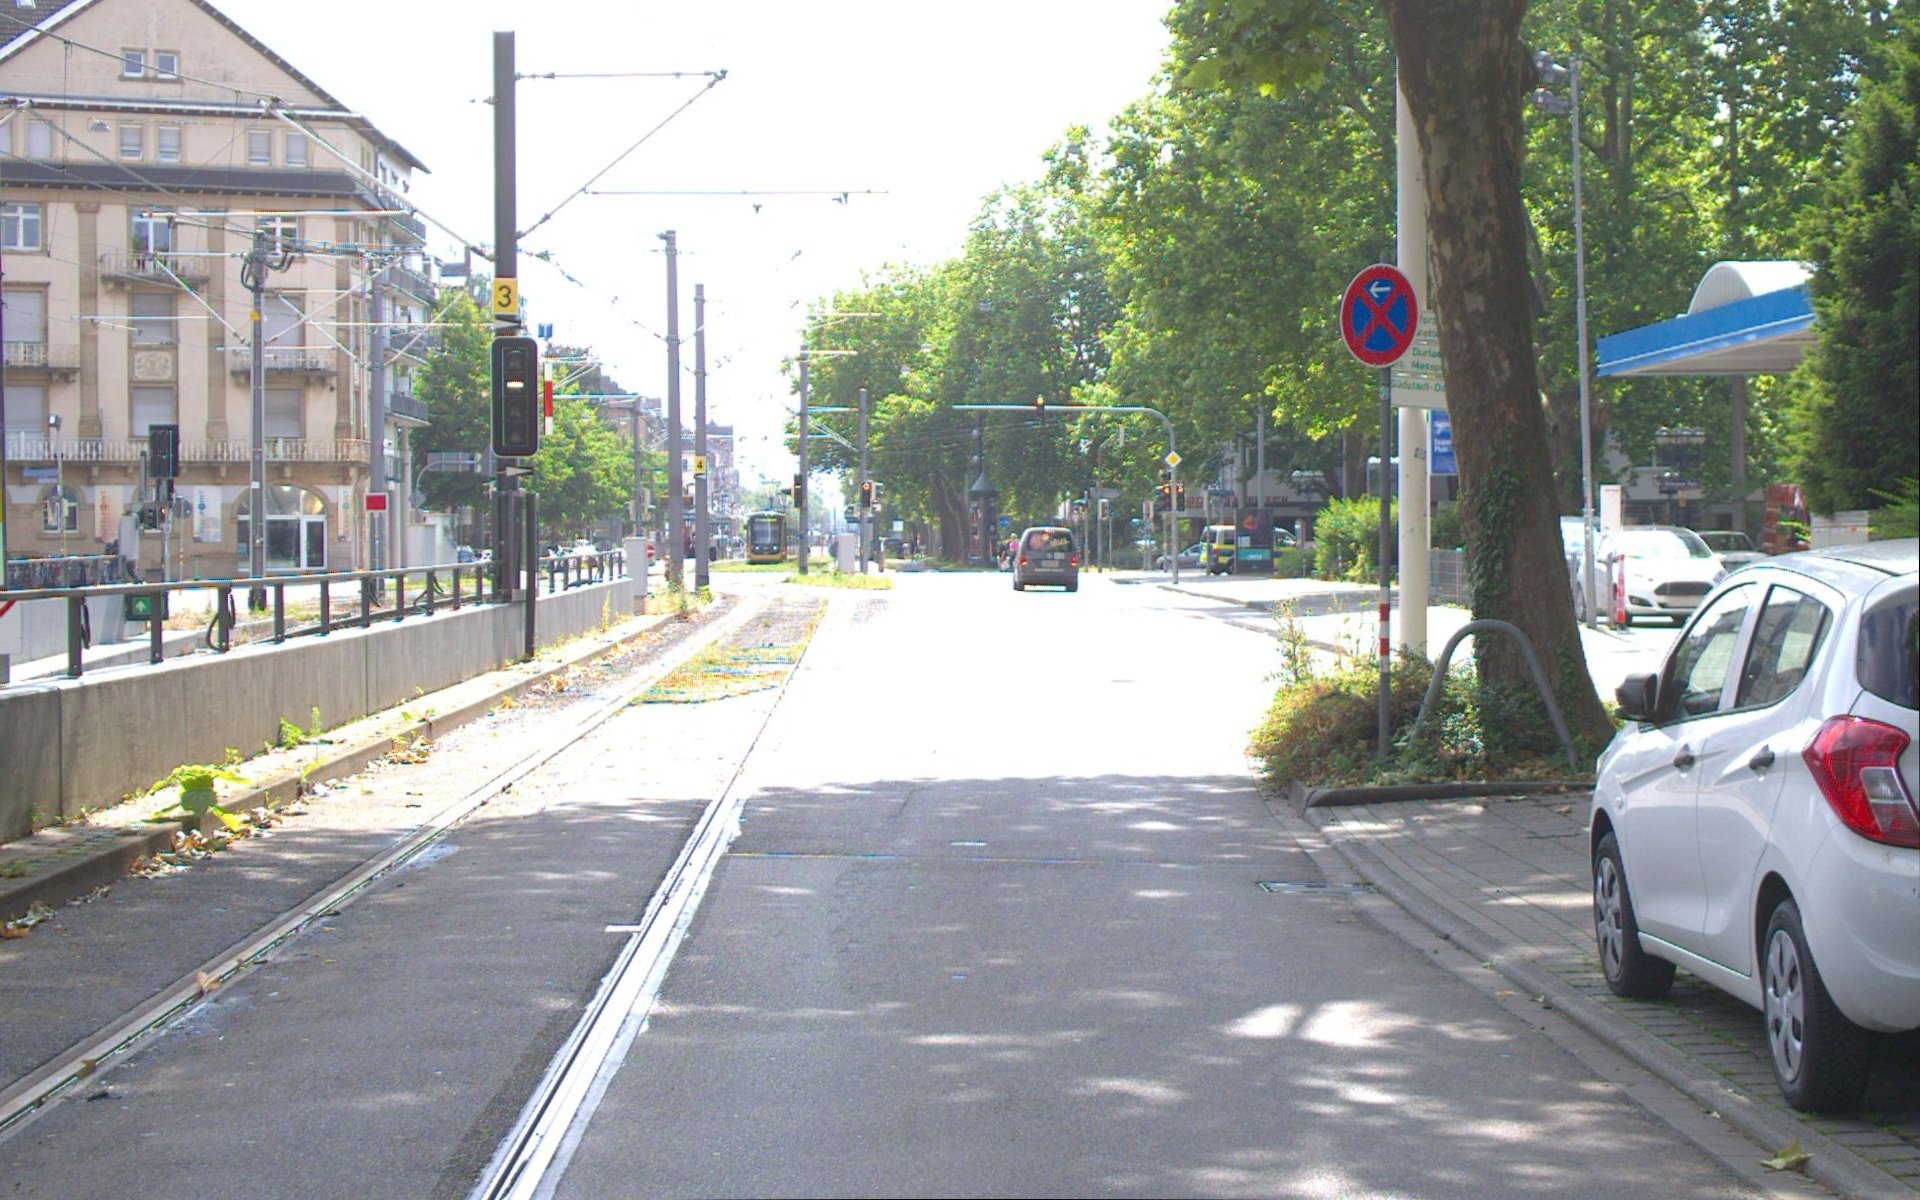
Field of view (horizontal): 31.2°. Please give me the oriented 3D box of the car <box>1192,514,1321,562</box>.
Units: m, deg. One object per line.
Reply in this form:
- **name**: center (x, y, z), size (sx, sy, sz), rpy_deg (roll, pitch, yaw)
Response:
- **car**: center (11.829, -2.484, 137.298), size (4.734, 1.853, 2.000), rpy_deg (-1, 1, -24)

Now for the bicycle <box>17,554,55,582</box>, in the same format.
- **bicycle**: center (-34.506, -1.196, 128.368), size (0.740, 1.049, 2.566), rpy_deg (-1, 1, -30)

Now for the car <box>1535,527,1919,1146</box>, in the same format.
- **car**: center (2.879, 0.533, 10.309), size (1.553, 1.480, 3.859), rpy_deg (-1, 1, -1)

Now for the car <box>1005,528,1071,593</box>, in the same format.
- **car**: center (2.246, -1.144, 99.320), size (1.750, 1.802, 3.475), rpy_deg (1, 1, -1)

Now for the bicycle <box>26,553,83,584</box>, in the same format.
- **bicycle**: center (-33.223, -1.149, 126.179), size (1.970, 1.110, 0.487), rpy_deg (-1, 1, -37)

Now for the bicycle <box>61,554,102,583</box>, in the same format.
- **bicycle**: center (-33.017, -1.186, 129.150), size (0.803, 1.049, 2.566), rpy_deg (-1, 1, -30)

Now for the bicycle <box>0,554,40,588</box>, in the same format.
- **bicycle**: center (-35.643, -1.060, 126.686), size (3.312, 1.249, 0.998), rpy_deg (0, 1, 16)

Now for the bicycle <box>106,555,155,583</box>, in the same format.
- **bicycle**: center (-31.339, -1.181, 129.934), size (0.804, 1.049, 2.565), rpy_deg (0, 1, 11)

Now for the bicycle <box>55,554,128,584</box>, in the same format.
- **bicycle**: center (-32.232, -1.153, 127.605), size (2.557, 1.049, 0.682), rpy_deg (-1, 1, -28)

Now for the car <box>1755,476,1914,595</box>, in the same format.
- **car**: center (19.801, -1.464, 78.101), size (2.111, 2.573, 6.019), rpy_deg (0, 1, 1)

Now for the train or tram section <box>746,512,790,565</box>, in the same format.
- **train or tram section**: center (-12.432, -4.014, 223.076), size (2.240, 3.320, 12.972), rpy_deg (0, 1, -1)

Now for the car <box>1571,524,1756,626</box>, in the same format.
- **car**: center (10.357, -0.391, 50.878), size (1.805, 1.450, 4.002), rpy_deg (0, 1, -2)
